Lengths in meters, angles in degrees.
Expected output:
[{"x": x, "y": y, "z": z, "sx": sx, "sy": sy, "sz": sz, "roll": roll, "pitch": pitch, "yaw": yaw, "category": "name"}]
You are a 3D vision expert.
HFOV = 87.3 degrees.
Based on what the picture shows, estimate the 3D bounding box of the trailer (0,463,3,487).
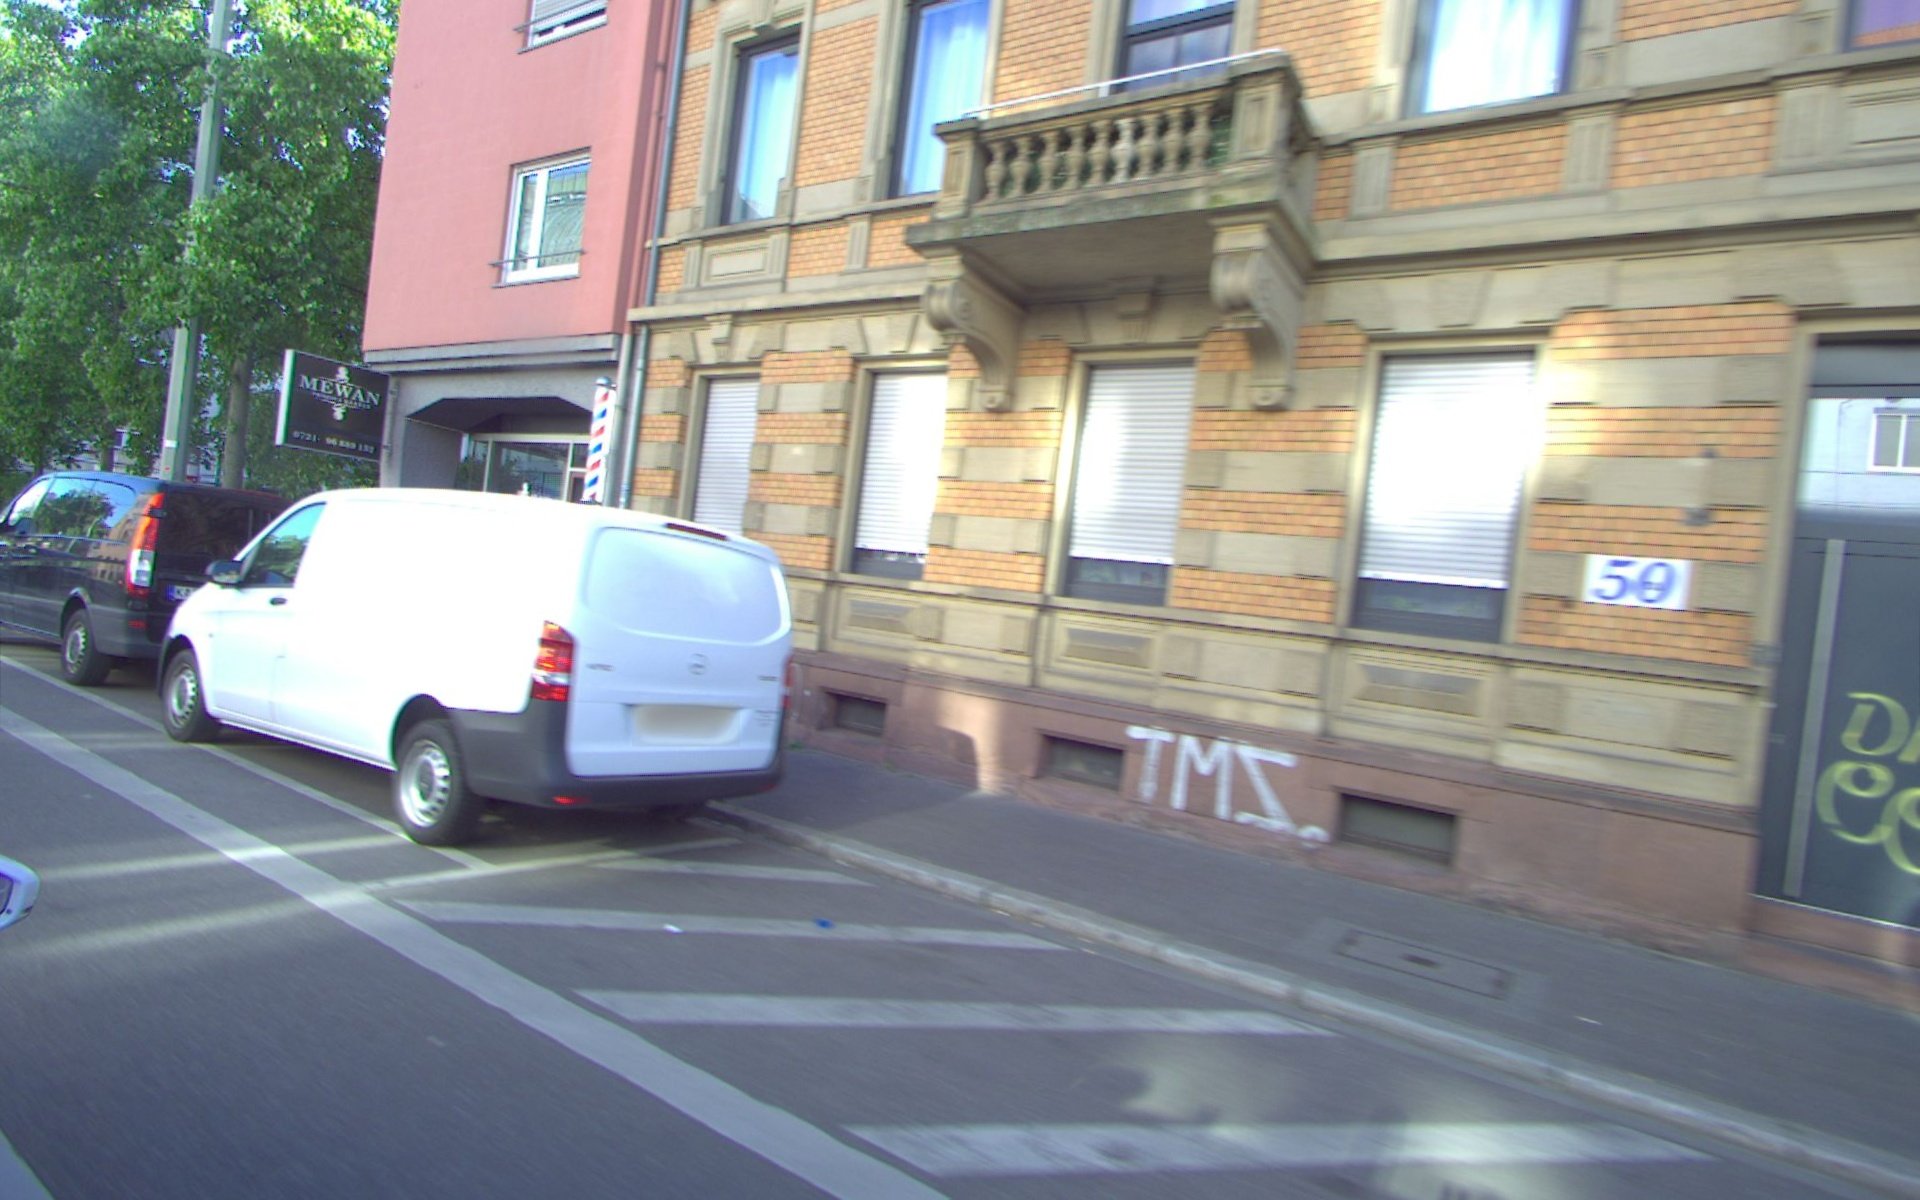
[{"x": -17.552, "y": -1.407, "z": 16.601, "sx": 3.782, "sy": 2.141, "sz": 1.663, "roll": 7, "pitch": -2, "yaw": 35, "category": "trailer"}]

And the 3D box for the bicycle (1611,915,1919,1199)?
[{"x": 1.999, "y": 1.231, "z": 1.129, "sx": 2.056, "sy": 1.153, "sz": 0.650, "roll": 7, "pitch": 0, "yaw": 19, "category": "bicycle"}]

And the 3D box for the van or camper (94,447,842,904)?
[{"x": -3.617, "y": 0.221, "z": 6.905, "sx": 5.386, "sy": 2.060, "sz": 1.934, "roll": 6, "pitch": -2, "yaw": 33, "category": "van or camper"}]

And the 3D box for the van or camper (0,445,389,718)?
[{"x": -8.281, "y": -0.282, "z": 10.120, "sx": 5.243, "sy": 2.069, "sz": 1.975, "roll": 7, "pitch": -2, "yaw": 32, "category": "van or camper"}]
